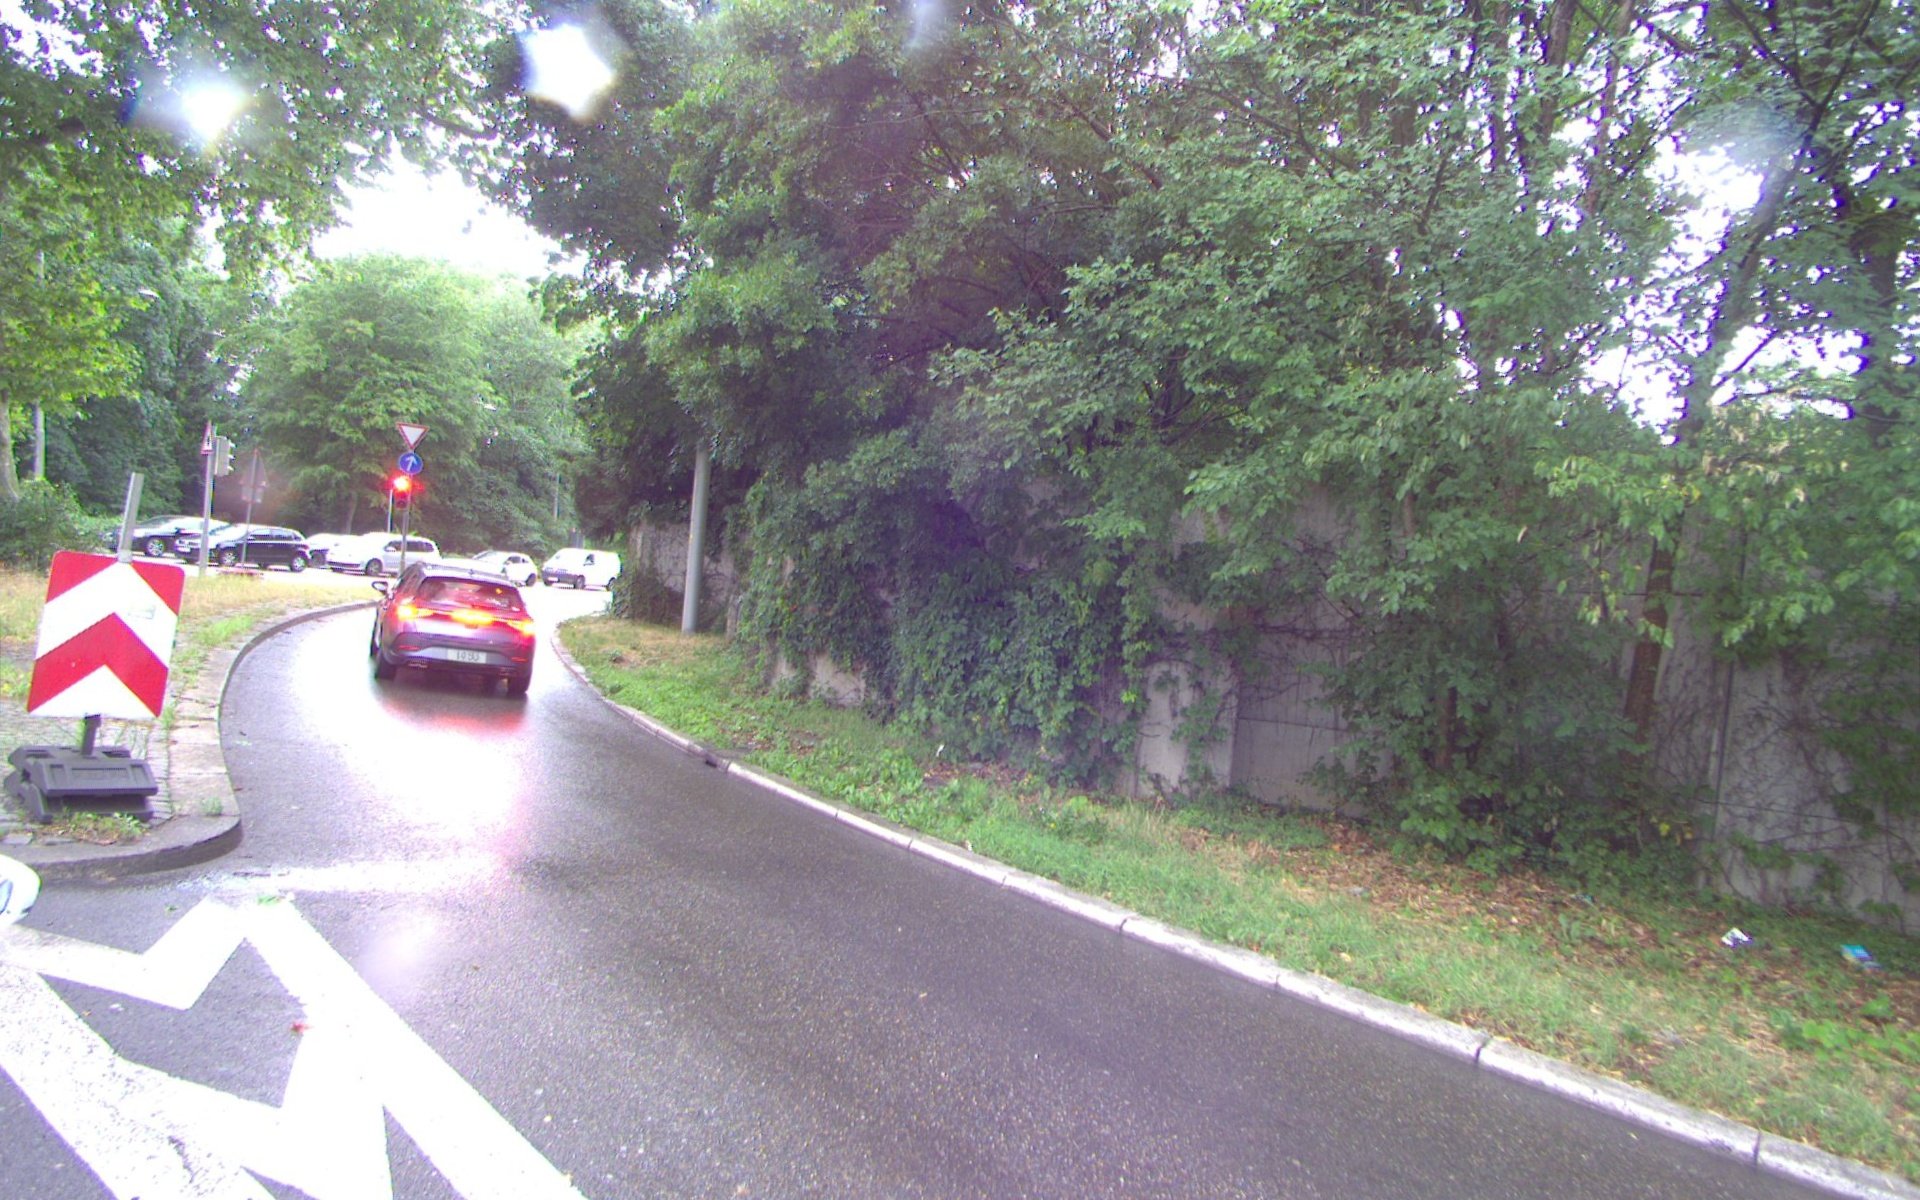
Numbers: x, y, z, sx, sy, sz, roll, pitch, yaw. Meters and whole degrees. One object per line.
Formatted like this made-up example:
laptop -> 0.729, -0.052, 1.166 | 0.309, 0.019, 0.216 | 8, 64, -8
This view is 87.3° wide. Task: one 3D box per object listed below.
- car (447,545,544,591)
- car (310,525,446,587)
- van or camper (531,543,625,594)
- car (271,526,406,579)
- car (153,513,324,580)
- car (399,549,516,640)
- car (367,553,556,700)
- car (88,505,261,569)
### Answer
car -> -20.555, -1.403, 44.691 | 1.627, 1.478, 3.869 | 7, -2, 16
car -> -22.084, -1.633, 38.357 | 1.871, 1.699, 4.216 | 7, -2, 16
van or camper -> -19.142, -1.536, 50.681 | 1.870, 1.970, 4.870 | 7, -1, 13
car -> -24.791, -1.855, 40.345 | 1.795, 1.418, 4.452 | 7, -2, 16
car -> -23.324, -1.679, 32.732 | 1.759, 1.477, 4.205 | 7, -2, 16
car -> -10.776, -0.161, 21.865 | 1.837, 1.464, 4.593 | 11, -3, -24
car -> -6.712, 0.247, 13.285 | 1.737, 1.418, 4.379 | 10, -3, -31
car -> -26.668, -2.096, 34.333 | 1.913, 1.457, 4.218 | 7, -2, 16
